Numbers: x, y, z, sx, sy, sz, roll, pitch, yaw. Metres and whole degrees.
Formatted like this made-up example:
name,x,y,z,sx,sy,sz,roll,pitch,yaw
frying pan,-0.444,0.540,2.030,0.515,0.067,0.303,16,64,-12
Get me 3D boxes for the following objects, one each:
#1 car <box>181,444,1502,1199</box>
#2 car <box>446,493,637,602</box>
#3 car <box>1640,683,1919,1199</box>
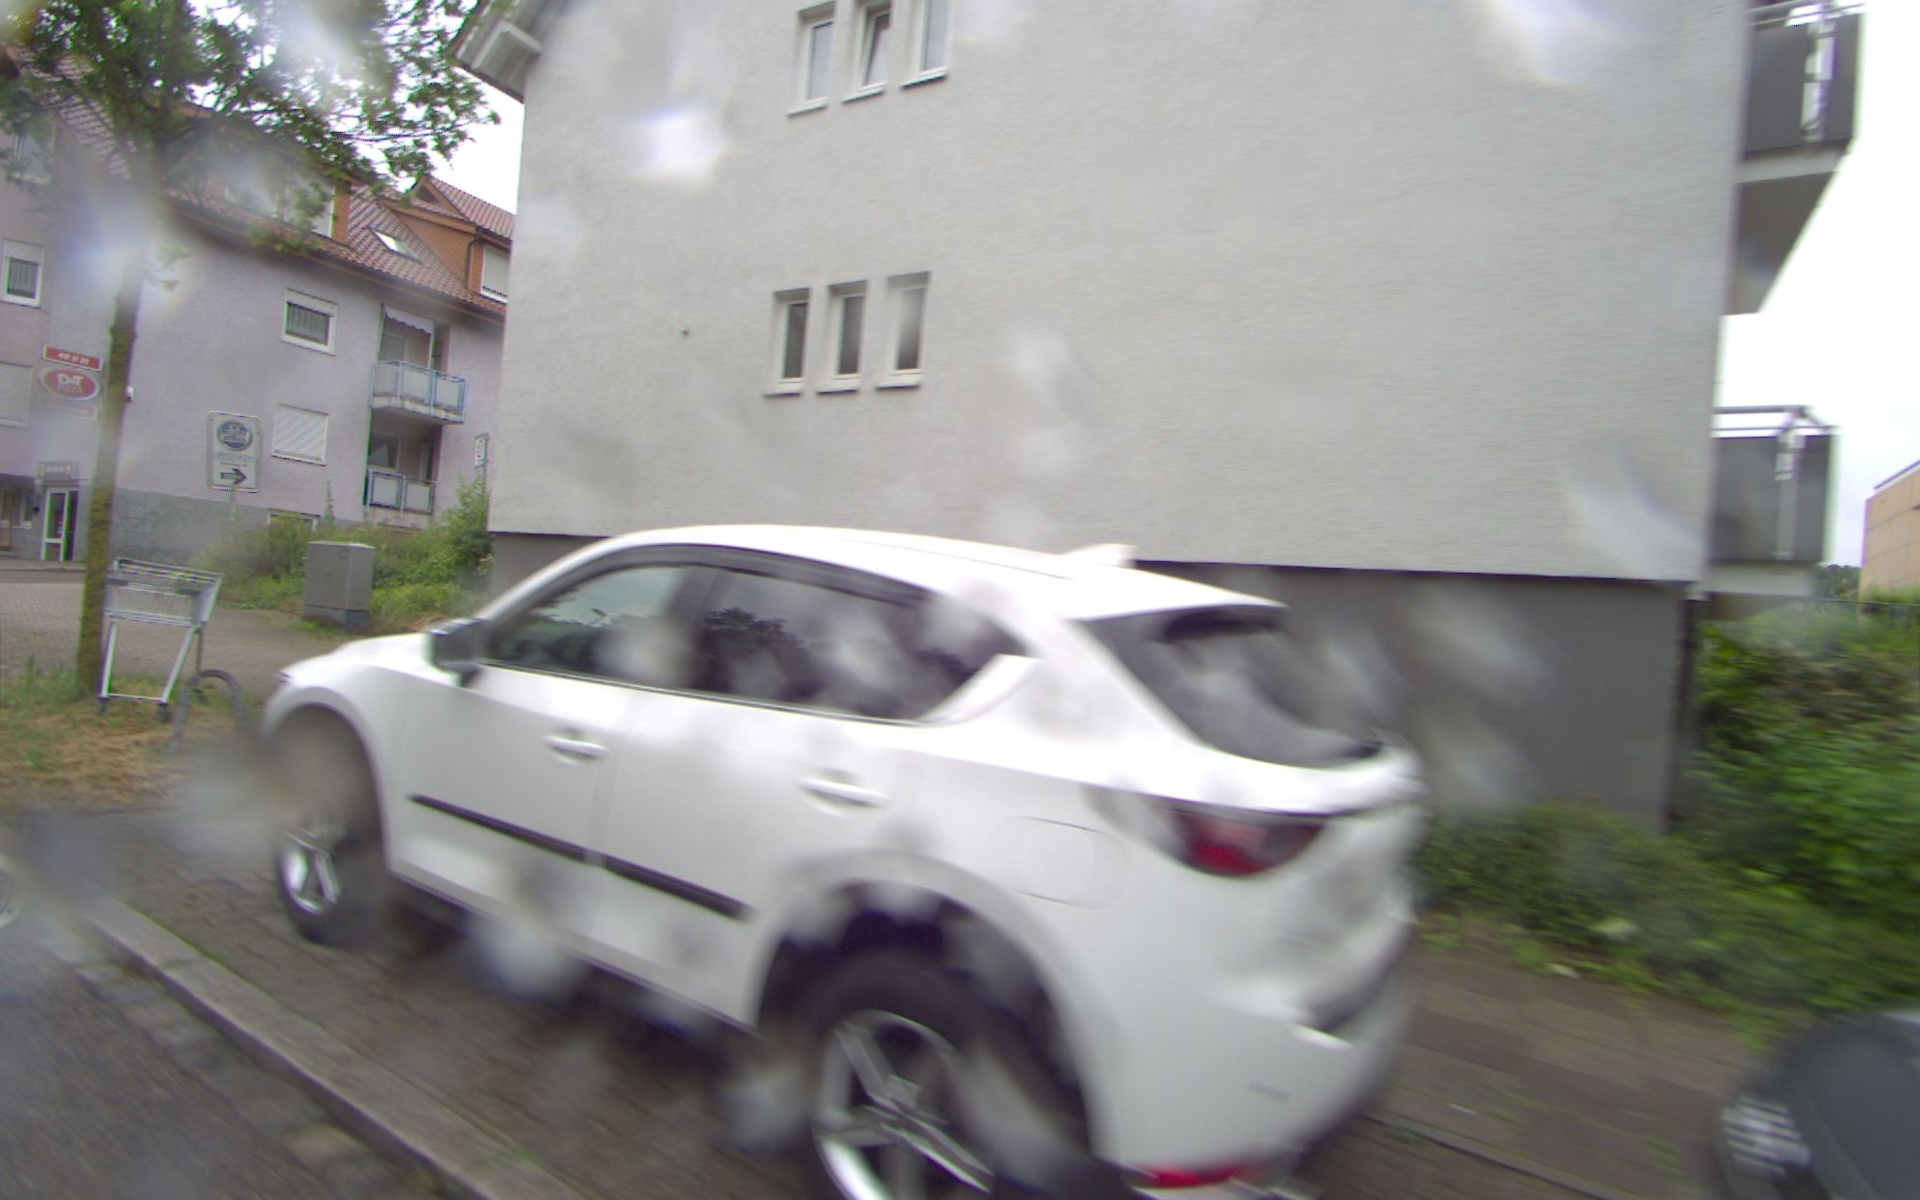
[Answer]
name,x,y,z,sx,sy,sz,roll,pitch,yaw
car,-0.735,0.548,3.637,4.466,1.795,1.825,7,1,33
car,-8.474,-1.082,20.314,3.614,1.705,1.681,8,1,33
car,3.195,1.090,1.003,3.931,1.466,1.644,7,0,30
